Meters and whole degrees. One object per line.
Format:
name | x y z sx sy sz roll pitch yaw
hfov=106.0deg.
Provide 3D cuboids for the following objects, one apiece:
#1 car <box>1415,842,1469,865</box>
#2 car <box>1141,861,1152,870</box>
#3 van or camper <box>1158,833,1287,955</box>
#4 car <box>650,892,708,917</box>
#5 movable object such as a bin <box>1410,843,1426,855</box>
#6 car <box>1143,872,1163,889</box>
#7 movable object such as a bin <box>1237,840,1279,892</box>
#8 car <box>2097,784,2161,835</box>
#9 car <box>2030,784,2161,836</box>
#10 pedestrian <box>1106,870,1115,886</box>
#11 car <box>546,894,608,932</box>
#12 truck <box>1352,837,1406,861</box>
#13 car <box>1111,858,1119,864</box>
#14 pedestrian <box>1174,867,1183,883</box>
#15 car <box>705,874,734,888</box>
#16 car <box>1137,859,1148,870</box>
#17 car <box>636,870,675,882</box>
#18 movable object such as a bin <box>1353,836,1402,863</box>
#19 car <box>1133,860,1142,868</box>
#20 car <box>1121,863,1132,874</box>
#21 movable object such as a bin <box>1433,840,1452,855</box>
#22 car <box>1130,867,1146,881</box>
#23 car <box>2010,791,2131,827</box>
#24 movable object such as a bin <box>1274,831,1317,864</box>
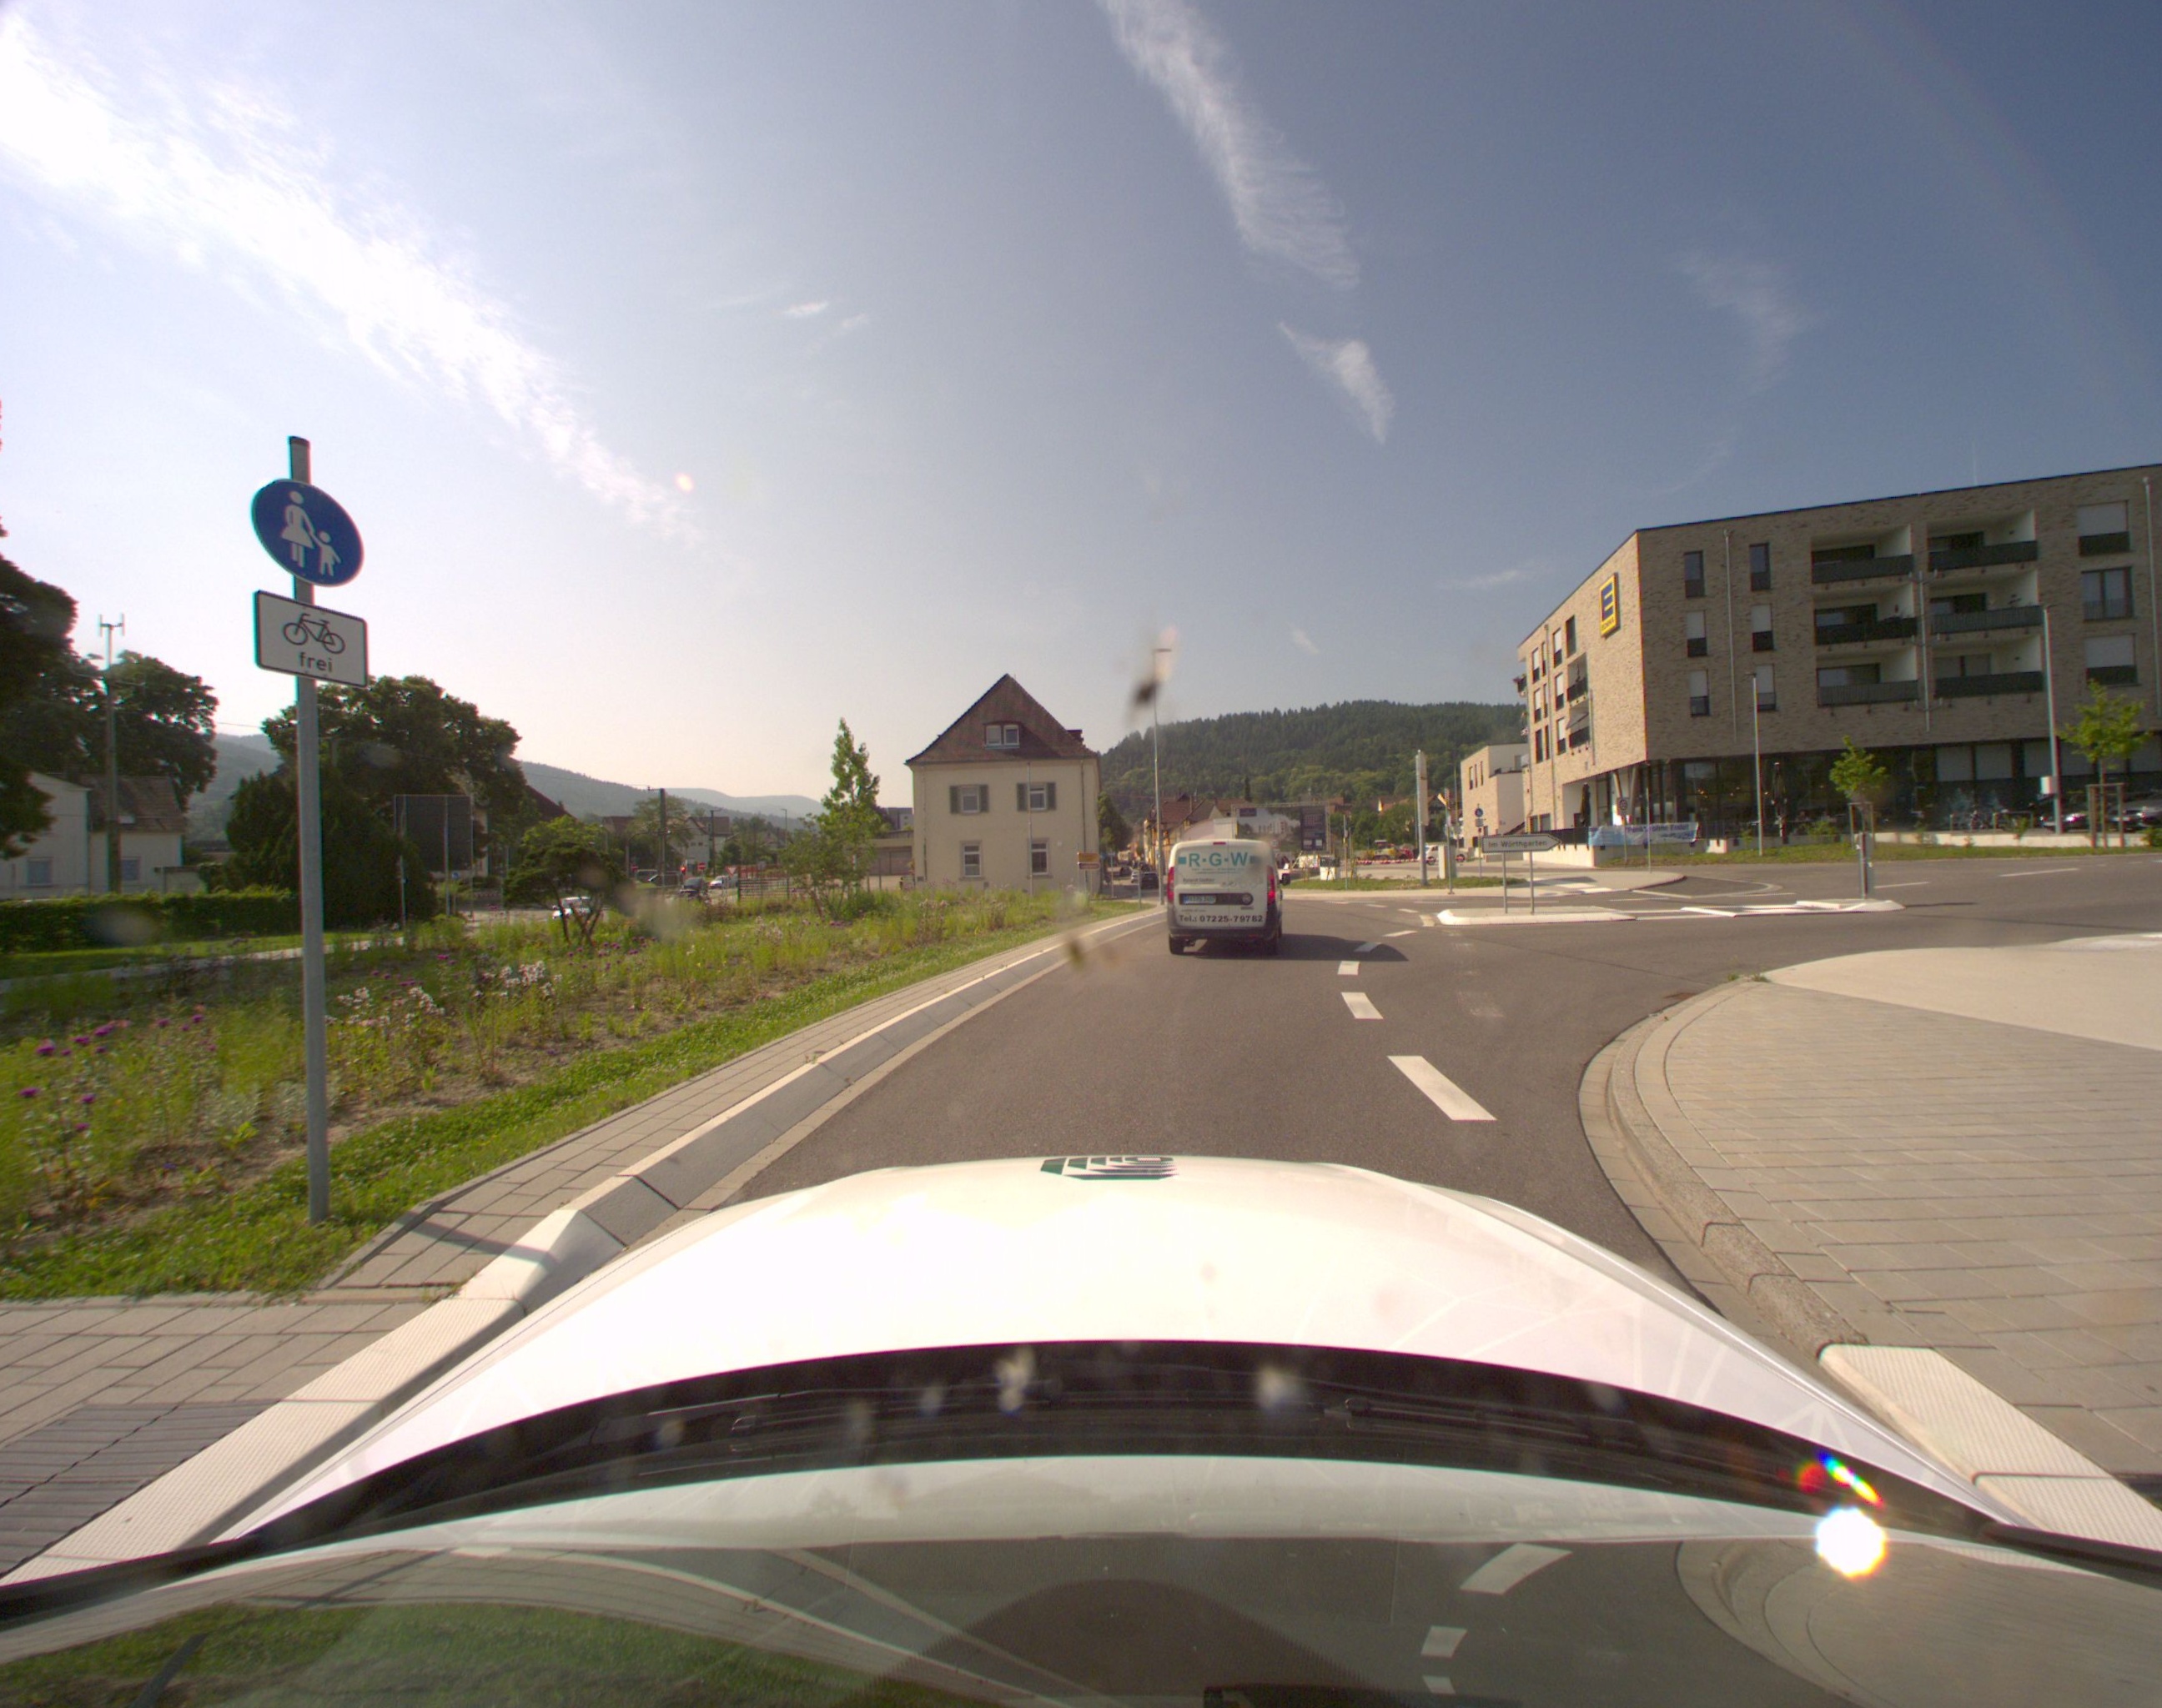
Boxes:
car | 27.910 -0.045 62.962 3.393 1.495 1.594 -3 -2 0
car | 11.916 2.080 148.768 1.804 1.596 3.928 0 0 2
van or camper | 2.665 0.646 14.546 1.814 1.844 4.205 -2 -1 15
car | -26.009 3.232 52.635 3.948 1.397 1.725 0 0 36
movable object such as a bin | 35.683 -0.535 86.191 1.287 1.268 1.324 0 0 11
car | 7.207 2.620 81.942 1.804 1.596 3.928 0 0 2
movable object such as a bin | 13.805 0.915 63.974 2.284 3.854 7.809 0 -1 5
car | 37.033 -1.605 26.690 4.413 1.555 1.865 -5 1 14
car | 38.225 -1.643 29.691 4.413 1.555 1.865 -5 1 14
pedestrian | 3.078 2.526 85.490 0.954 1.631 0.758 -1 -1 1
car | -23.482 2.707 38.104 1.676 1.531 3.971 -3 -1 -21
truck | 33.202 -0.539 90.778 5.265 2.266 2.232 -4 -2 27
car | 8.661 1.724 208.132 1.805 1.596 3.926 0 0 0
pedestrian | 10.367 2.262 86.788 0.885 1.683 0.718 0 -2 1
car | -39.408 2.960 88.856 1.707 1.397 3.991 0 0 -7
car | 12.025 2.020 158.848 1.865 2.013 4.000 -1 0 1
car | -53.968 2.822 103.341 3.990 1.397 1.707 0 0 -13
movable object such as a bin | 31.854 -0.478 87.611 4.569 2.569 1.937 -4 -2 27
car | 12.203 2.107 175.306 1.664 1.508 3.999 -3 0 -1
car | 7.323 2.358 131.475 1.803 1.596 3.930 0 0 3
movable object such as a bin | 36.794 -0.686 82.908 1.570 1.464 1.324 0 0 11
car | 6.929 2.472 99.099 1.803 1.596 3.930 0 0 3
car | 41.938 -1.863 34.615 1.477 1.351 3.342 0 0 10
movable object such as a bin | 24.602 -0.785 93.190 2.822 3.622 5.772 0 0 36
